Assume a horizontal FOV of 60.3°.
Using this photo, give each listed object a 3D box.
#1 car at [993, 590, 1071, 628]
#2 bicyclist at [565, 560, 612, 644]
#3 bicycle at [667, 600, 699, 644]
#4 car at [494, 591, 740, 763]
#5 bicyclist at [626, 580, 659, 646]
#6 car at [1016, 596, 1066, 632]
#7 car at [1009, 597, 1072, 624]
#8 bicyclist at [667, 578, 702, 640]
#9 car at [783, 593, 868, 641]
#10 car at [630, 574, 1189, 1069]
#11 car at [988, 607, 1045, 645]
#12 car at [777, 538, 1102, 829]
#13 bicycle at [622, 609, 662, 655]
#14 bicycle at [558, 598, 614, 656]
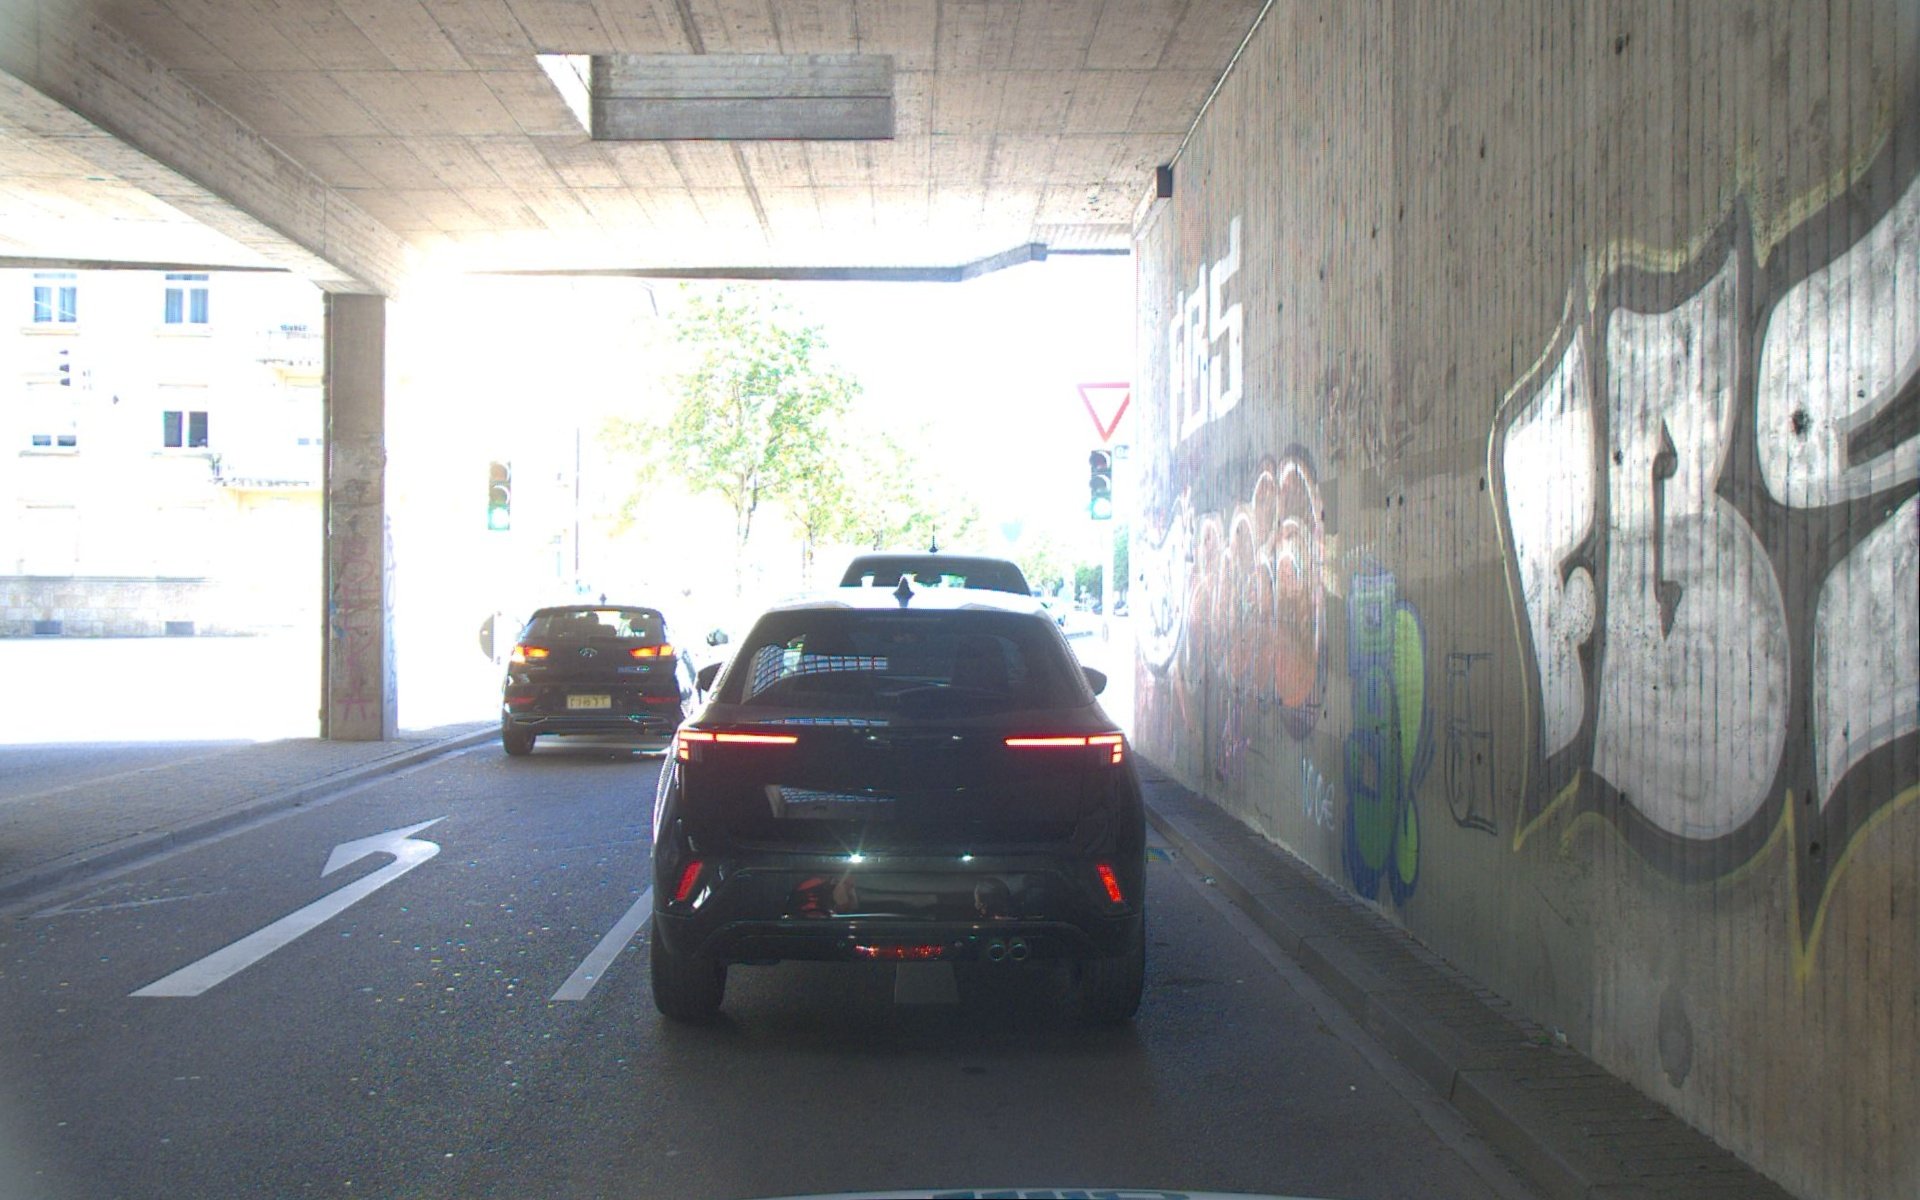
[{"bbox_3d":[5.037,0.627,116.110,5.175,2.590,1.977,0,-1,-16],"label":"car"},{"bbox_3d":[-7.815,0.025,34.833,0.730,1.741,0.967,0,2,2],"label":"bicyclist"},{"bbox_3d":[-7.607,0.593,45.464,0.530,1.142,2.059,0,0,1],"label":"bicycle"},{"bbox_3d":[-3.273,0.665,16.585,1.765,1.476,4.323,-1,0,-3],"label":"car"},{"bbox_3d":[-8.068,0.324,42.033,0.593,1.661,0.910,0,0,4],"label":"bicyclist"},{"bbox_3d":[3.652,0.603,74.159,1.668,1.539,3.866,-2,0,11],"label":"car"},{"bbox_3d":[6.538,0.864,134.026,4.822,2.119,1.970,0,-1,-26],"label":"car"},{"bbox_3d":[-7.569,0.239,45.437,0.766,1.689,1.031,0,0,1],"label":"bicyclist"},{"bbox_3d":[-4.163,0.504,51.716,1.622,1.466,3.466,0,0,14],"label":"car"},{"bbox_3d":[-0.183,0.694,7.096,1.745,1.544,3.755,1,0,-1],"label":"car"},{"bbox_3d":[2.304,1.015,66.325,1.671,1.477,3.854,0,0,11],"label":"car"},{"bbox_3d":[-0.187,0.523,13.116,2.090,1.867,4.939,0,0,-1],"label":"car"},{"bbox_3d":[-8.061,0.793,41.951,0.514,1.109,1.861,0,0,4],"label":"bicycle"},{"bbox_3d":[-7.828,0.551,34.695,0.683,1.109,1.861,0,2,2],"label":"bicycle"}]
